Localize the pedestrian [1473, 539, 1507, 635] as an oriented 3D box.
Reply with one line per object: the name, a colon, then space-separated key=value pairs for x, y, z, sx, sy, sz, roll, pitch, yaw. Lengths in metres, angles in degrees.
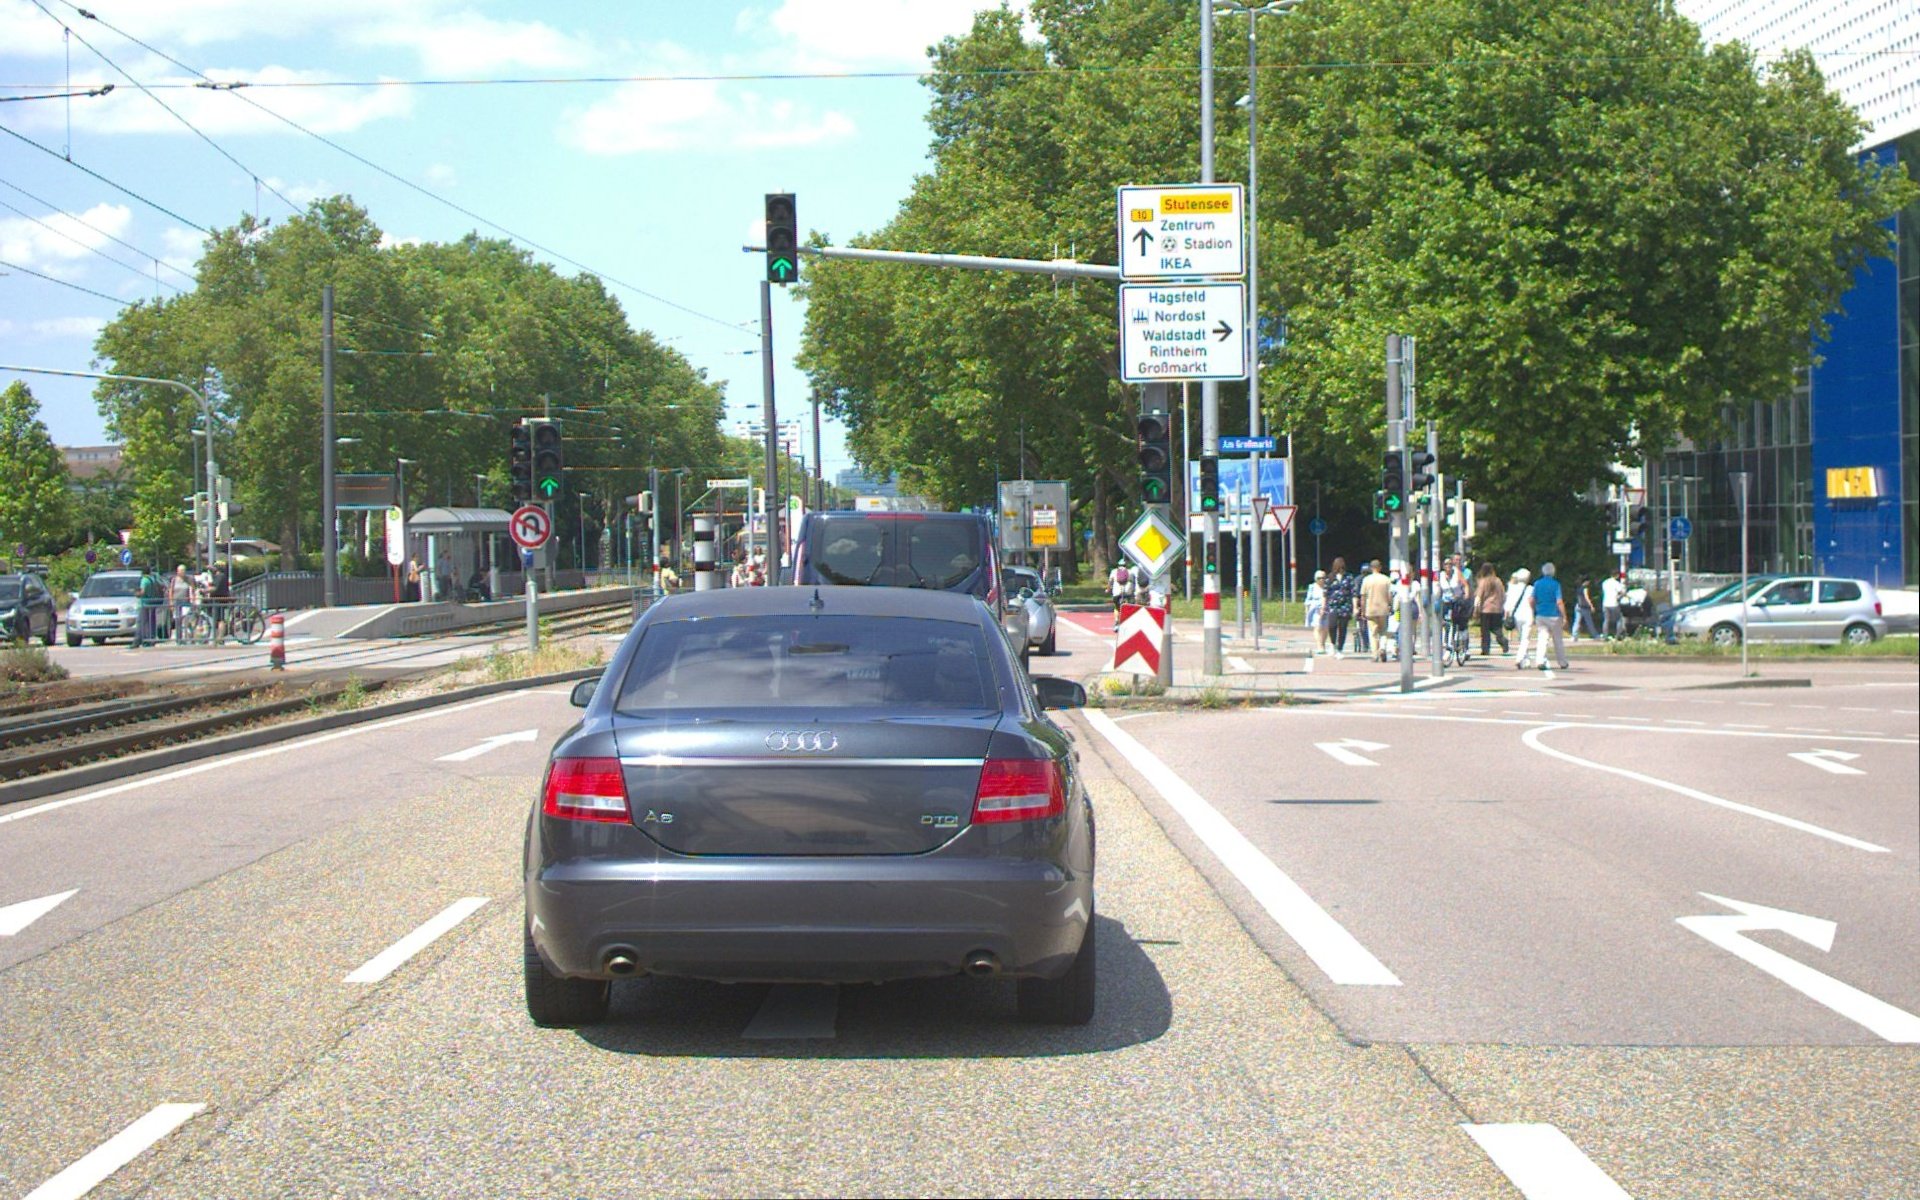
pedestrian: x=9.268 y=-0.234 z=60.154 sx=0.521 sy=1.664 sz=0.494 roll=1 pitch=1 yaw=3

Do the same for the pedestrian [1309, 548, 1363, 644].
pedestrian: x=6.417 y=-0.070 z=58.681 sx=0.714 sy=1.629 sz=0.706 roll=1 pitch=1 yaw=25

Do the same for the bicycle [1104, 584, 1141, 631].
bicycle: x=3.622 y=0.154 z=76.628 sx=0.688 sy=0.990 sz=2.751 roll=1 pitch=1 yaw=0

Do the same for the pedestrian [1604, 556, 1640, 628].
pedestrian: x=15.096 y=-0.189 z=78.388 sx=0.705 sy=1.629 sz=0.611 roll=1 pitch=1 yaw=19

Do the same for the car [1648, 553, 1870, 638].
car: x=15.217 y=-0.103 z=65.620 sx=3.789 sy=1.481 sz=2.000 roll=2 pitch=1 yaw=3

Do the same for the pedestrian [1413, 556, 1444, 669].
pedestrian: x=6.766 y=0.181 z=49.662 sx=0.381 sy=1.629 sz=0.377 roll=1 pitch=1 yaw=3

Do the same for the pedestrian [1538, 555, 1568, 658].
pedestrian: x=9.431 y=0.097 z=54.694 sx=0.398 sy=1.629 sz=0.371 roll=1 pitch=1 yaw=3

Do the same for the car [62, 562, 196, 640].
car: x=-18.921 y=0.002 z=78.442 sx=1.822 sy=1.664 sz=4.461 roll=1 pitch=1 yaw=2

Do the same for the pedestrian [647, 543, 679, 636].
pedestrian: x=-6.447 y=-0.235 z=74.631 sx=0.685 sy=2.007 sz=0.573 roll=0 pitch=0 yaw=-4

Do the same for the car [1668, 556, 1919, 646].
car: x=15.299 y=0.009 z=62.389 sx=4.498 sy=1.481 sz=2.000 roll=2 pitch=1 yaw=3

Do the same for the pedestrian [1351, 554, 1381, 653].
pedestrian: x=6.748 y=0.052 z=57.150 sx=0.445 sy=1.629 sz=0.430 roll=1 pitch=1 yaw=3

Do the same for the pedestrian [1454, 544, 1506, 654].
pedestrian: x=8.871 y=-0.022 z=58.611 sx=0.685 sy=1.840 sz=0.706 roll=1 pitch=1 yaw=25

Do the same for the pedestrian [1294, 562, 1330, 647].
pedestrian: x=6.327 y=0.078 z=61.728 sx=0.494 sy=1.514 sz=0.706 roll=1 pitch=1 yaw=17

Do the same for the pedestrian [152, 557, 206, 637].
pedestrian: x=-16.852 y=-0.062 z=74.199 sx=0.824 sy=1.714 sz=0.774 roll=1 pitch=0 yaw=22

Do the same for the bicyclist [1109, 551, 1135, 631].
bicyclist: x=3.622 y=-0.196 z=76.921 sx=0.528 sy=1.783 sz=1.088 roll=0 pitch=0 yaw=0

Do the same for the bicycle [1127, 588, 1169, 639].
bicycle: x=3.856 y=0.274 z=70.639 sx=0.688 sy=1.002 sz=2.751 roll=1 pitch=1 yaw=0

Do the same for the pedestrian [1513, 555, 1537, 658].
pedestrian: x=8.997 y=0.103 z=54.726 sx=0.320 sy=1.629 sz=0.377 roll=1 pitch=1 yaw=3

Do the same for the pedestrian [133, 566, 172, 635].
pedestrian: x=-16.802 y=0.009 z=71.538 sx=0.685 sy=1.438 sz=0.573 roll=0 pitch=0 yaw=-4

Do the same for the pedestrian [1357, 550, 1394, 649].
pedestrian: x=6.929 y=-0.011 z=57.323 sx=0.554 sy=1.629 sz=0.433 roll=1 pitch=1 yaw=3

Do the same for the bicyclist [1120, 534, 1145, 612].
bicyclist: x=4.016 y=-0.627 z=80.006 sx=0.528 sy=1.783 sz=1.088 roll=0 pitch=0 yaw=0

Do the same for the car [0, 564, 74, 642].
car: x=-21.740 y=0.050 z=78.243 sx=1.822 sy=1.664 sz=4.461 roll=1 pitch=1 yaw=2

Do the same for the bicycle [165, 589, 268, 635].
bicycle: x=-15.281 y=0.237 z=70.700 sx=2.055 sy=0.922 sz=0.753 roll=0 pitch=1 yaw=-10

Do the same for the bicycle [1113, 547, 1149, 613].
bicycle: x=3.988 y=-0.488 z=80.462 sx=0.688 sy=1.514 sz=2.751 roll=1 pitch=1 yaw=0

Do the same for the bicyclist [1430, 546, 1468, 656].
bicyclist: x=7.859 y=0.007 z=55.281 sx=0.529 sy=1.758 sz=0.827 roll=0 pitch=0 yaw=13

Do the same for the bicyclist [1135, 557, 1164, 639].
bicyclist: x=3.900 y=-0.051 z=70.724 sx=0.528 sy=1.670 sz=1.088 roll=0 pitch=0 yaw=0

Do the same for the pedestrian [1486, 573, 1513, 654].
pedestrian: x=8.631 y=0.215 z=55.014 sx=0.372 sy=1.299 sz=0.365 roll=1 pitch=1 yaw=3

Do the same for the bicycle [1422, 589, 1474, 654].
bicycle: x=7.891 y=0.340 z=55.565 sx=0.660 sy=1.018 sz=1.860 roll=1 pitch=1 yaw=13

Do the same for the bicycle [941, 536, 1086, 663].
bicycle: x=0.920 y=-0.027 z=56.787 sx=1.994 sy=2.007 sz=3.999 roll=1 pitch=1 yaw=6

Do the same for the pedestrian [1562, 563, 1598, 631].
pedestrian: x=14.189 y=-0.068 z=78.703 sx=0.705 sy=1.539 sz=0.677 roll=1 pitch=1 yaw=19

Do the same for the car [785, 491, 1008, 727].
car: x=-0.551 y=0.057 z=30.412 sx=1.836 sy=1.943 sz=4.000 roll=0 pitch=0 yaw=-1

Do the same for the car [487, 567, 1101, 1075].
car: x=-0.500 y=0.630 z=12.071 sx=1.792 sy=1.450 sz=4.000 roll=0 pitch=1 yaw=0
